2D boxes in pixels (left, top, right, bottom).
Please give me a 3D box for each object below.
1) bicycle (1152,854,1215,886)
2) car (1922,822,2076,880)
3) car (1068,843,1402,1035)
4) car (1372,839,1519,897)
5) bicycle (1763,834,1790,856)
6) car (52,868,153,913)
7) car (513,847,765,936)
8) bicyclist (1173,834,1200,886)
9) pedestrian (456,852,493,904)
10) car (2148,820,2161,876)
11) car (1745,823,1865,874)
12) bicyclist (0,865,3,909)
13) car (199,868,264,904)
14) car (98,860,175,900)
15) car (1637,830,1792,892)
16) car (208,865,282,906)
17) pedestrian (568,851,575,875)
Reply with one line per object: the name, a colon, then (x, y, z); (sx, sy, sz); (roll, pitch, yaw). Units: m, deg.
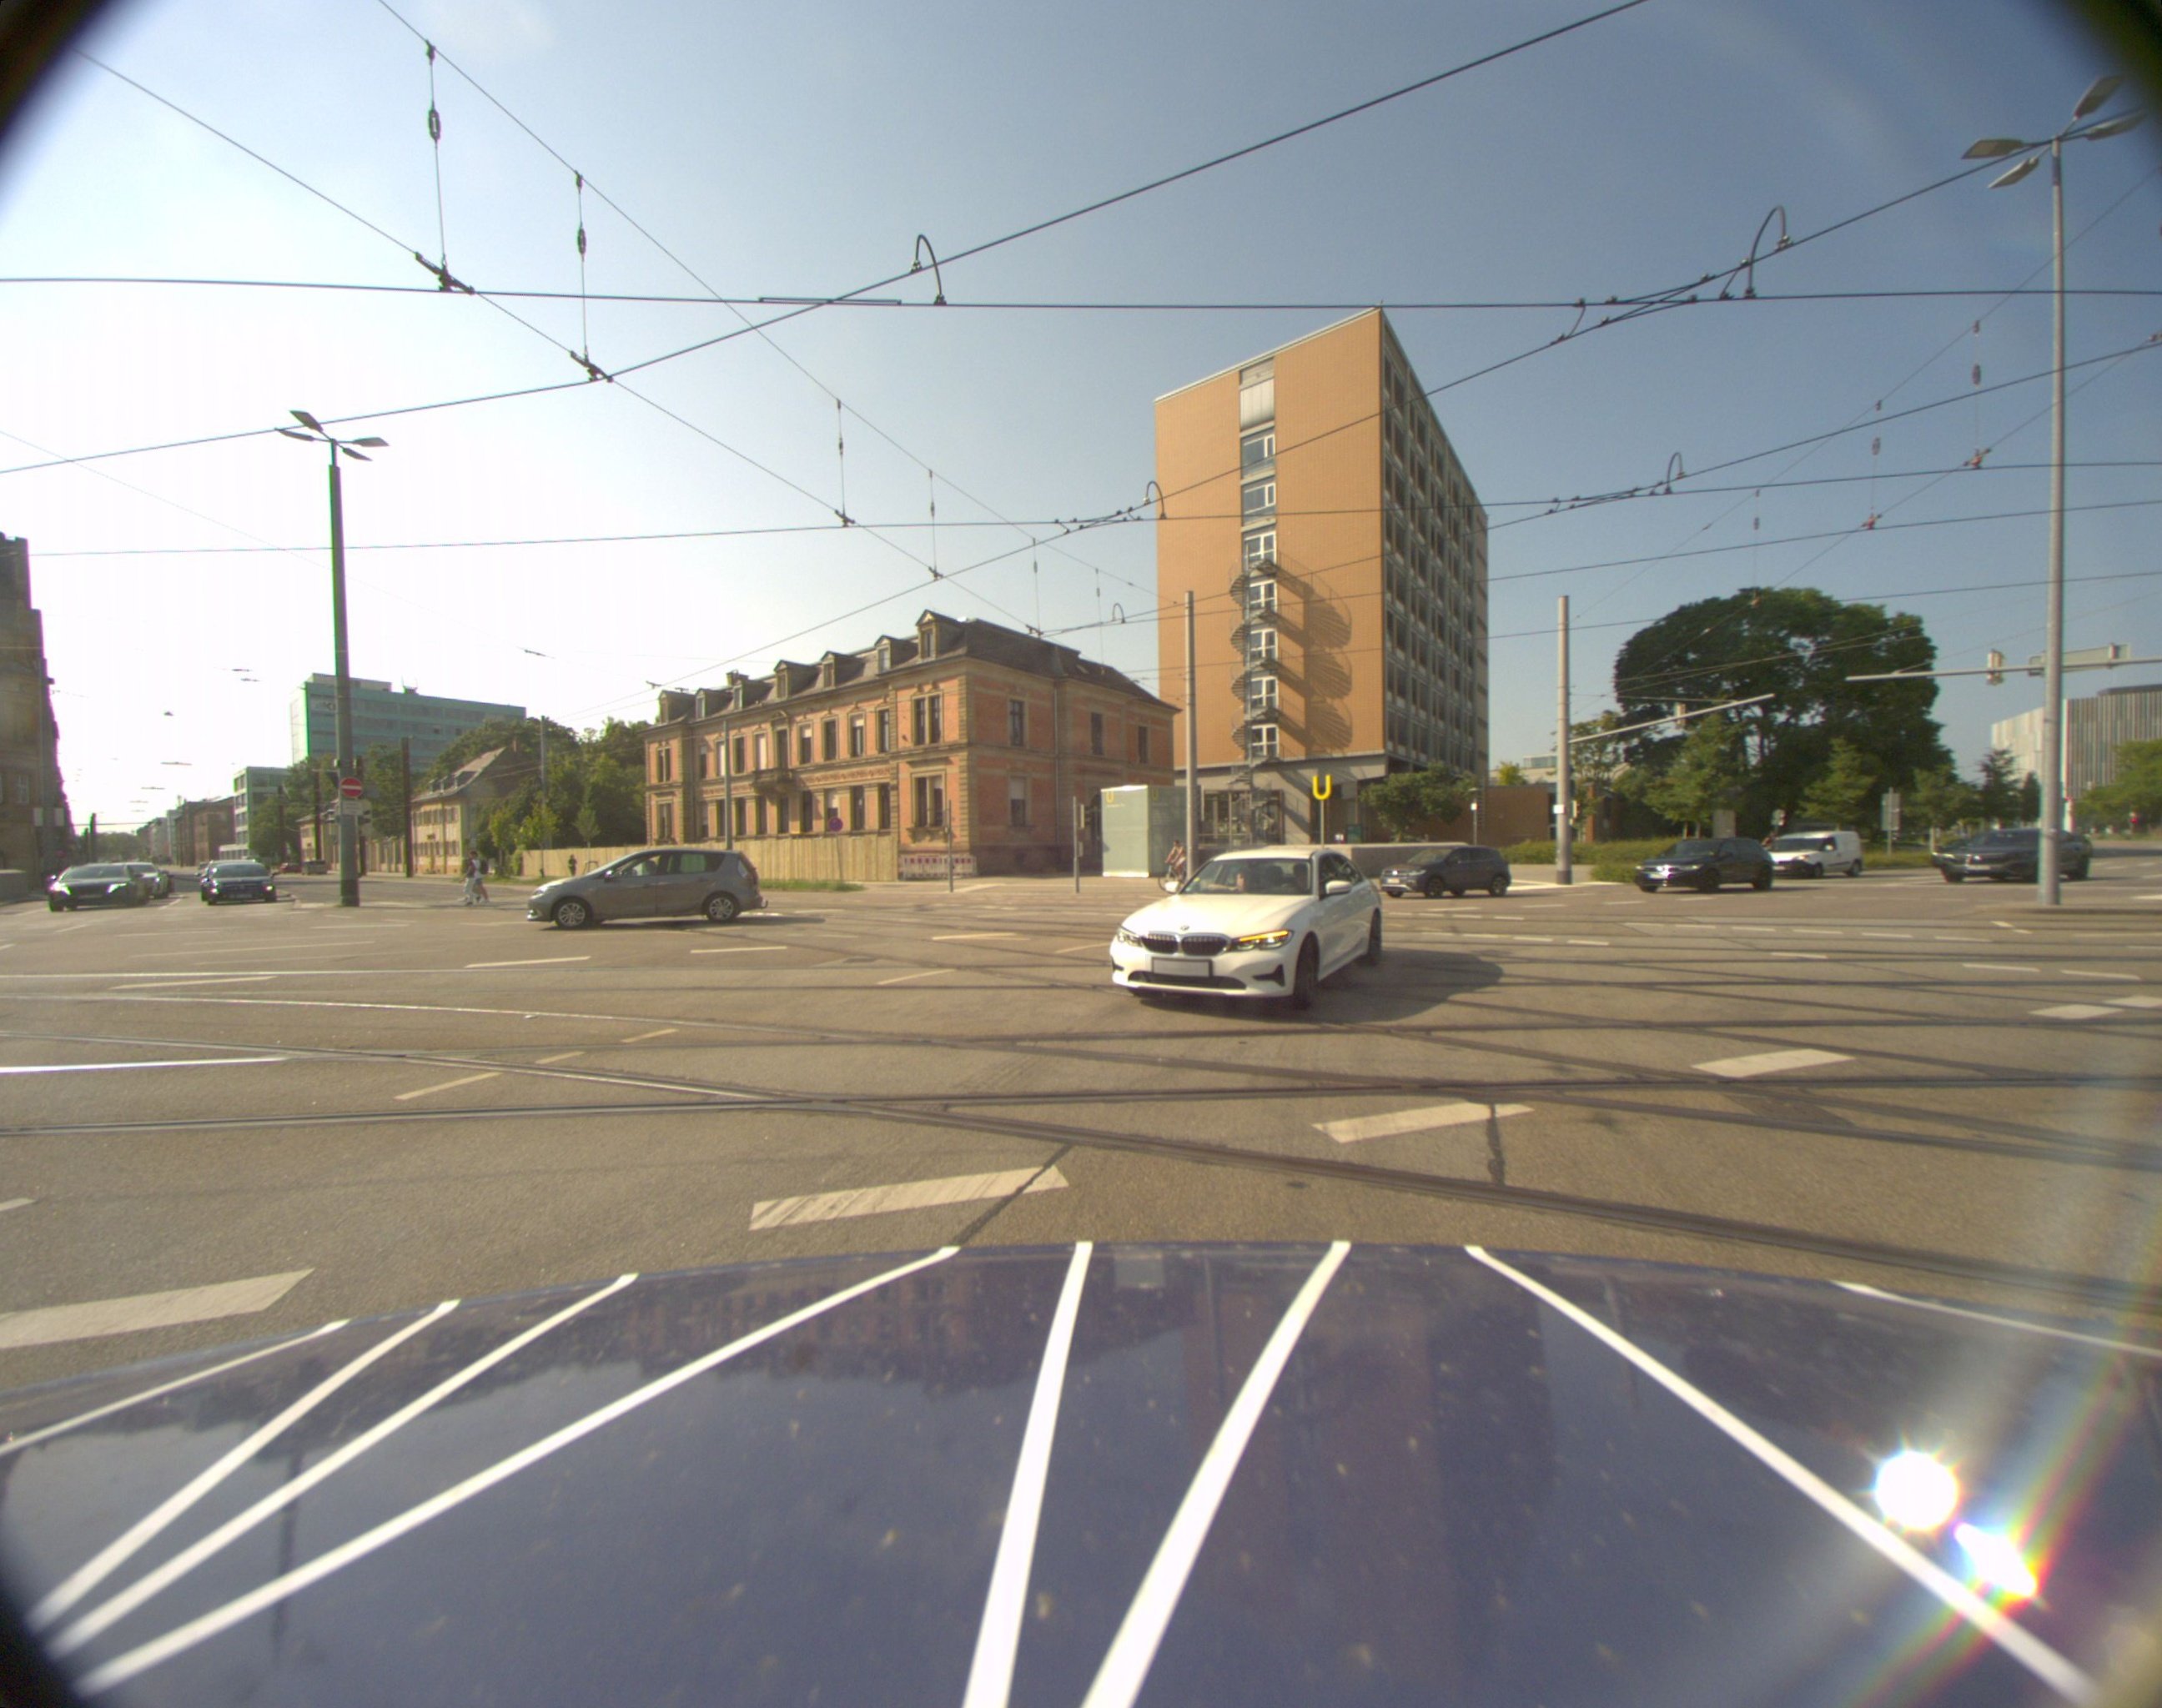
bicycle: (3.742, 0.575, 27.744); (2.188, 1.089, 0.528); (-1, 2, -12)
car: (29.445, -0.091, 24.378); (4.294, 1.697, 1.923); (-1, -1, -22)
car: (2.008, 0.651, 8.334); (1.810, 1.419, 4.783); (-1, 1, 35)
car: (11.063, 0.396, 23.068); (3.979, 1.572, 1.741); (-1, 0, -20)
bicycle: (38.208, -0.486, 41.756); (1.774, 1.187, 0.400); (-1, 2, -24)
car: (-35.421, 1.261, 27.607); (3.988, 1.368, 1.931); (0, 2, 42)
car: (-9.075, 0.711, 16.049); (4.293, 1.614, 1.812); (-1, 0, -19)
bicyclist: (3.846, 0.210, 27.766); (0.710, 1.851, 0.781); (-1, 2, -12)
pedestrian: (-19.983, 0.766, 25.048); (0.795, 1.678, 0.659); (-2, 2, -31)
car: (35.226, -0.249, 23.373); (4.295, 1.697, 1.949); (-1, -1, -24)
car: (28.635, -0.208, 30.051); (4.294, 1.875, 1.792); (-1, 0, -22)
bicyclist: (-38.289, 1.128, 26.458); (0.915, 1.627, 0.664); (0, 2, 44)
car: (-35.702, 1.290, 31.959); (3.988, 1.319, 1.697); (0, 2, 42)
car: (-42.828, 1.125, 34.550); (3.988, 1.627, 1.931); (0, 2, 42)
car: (19.272, 0.198, 23.103); (4.294, 1.697, 1.765); (-1, -1, -22)
car: (-30.682, 1.102, 27.893); (3.988, 1.319, 1.697); (0, 2, 42)
pedestrian: (-31.787, 0.563, 47.374); (0.325, 1.522, 0.237); (0, 2, 37)
